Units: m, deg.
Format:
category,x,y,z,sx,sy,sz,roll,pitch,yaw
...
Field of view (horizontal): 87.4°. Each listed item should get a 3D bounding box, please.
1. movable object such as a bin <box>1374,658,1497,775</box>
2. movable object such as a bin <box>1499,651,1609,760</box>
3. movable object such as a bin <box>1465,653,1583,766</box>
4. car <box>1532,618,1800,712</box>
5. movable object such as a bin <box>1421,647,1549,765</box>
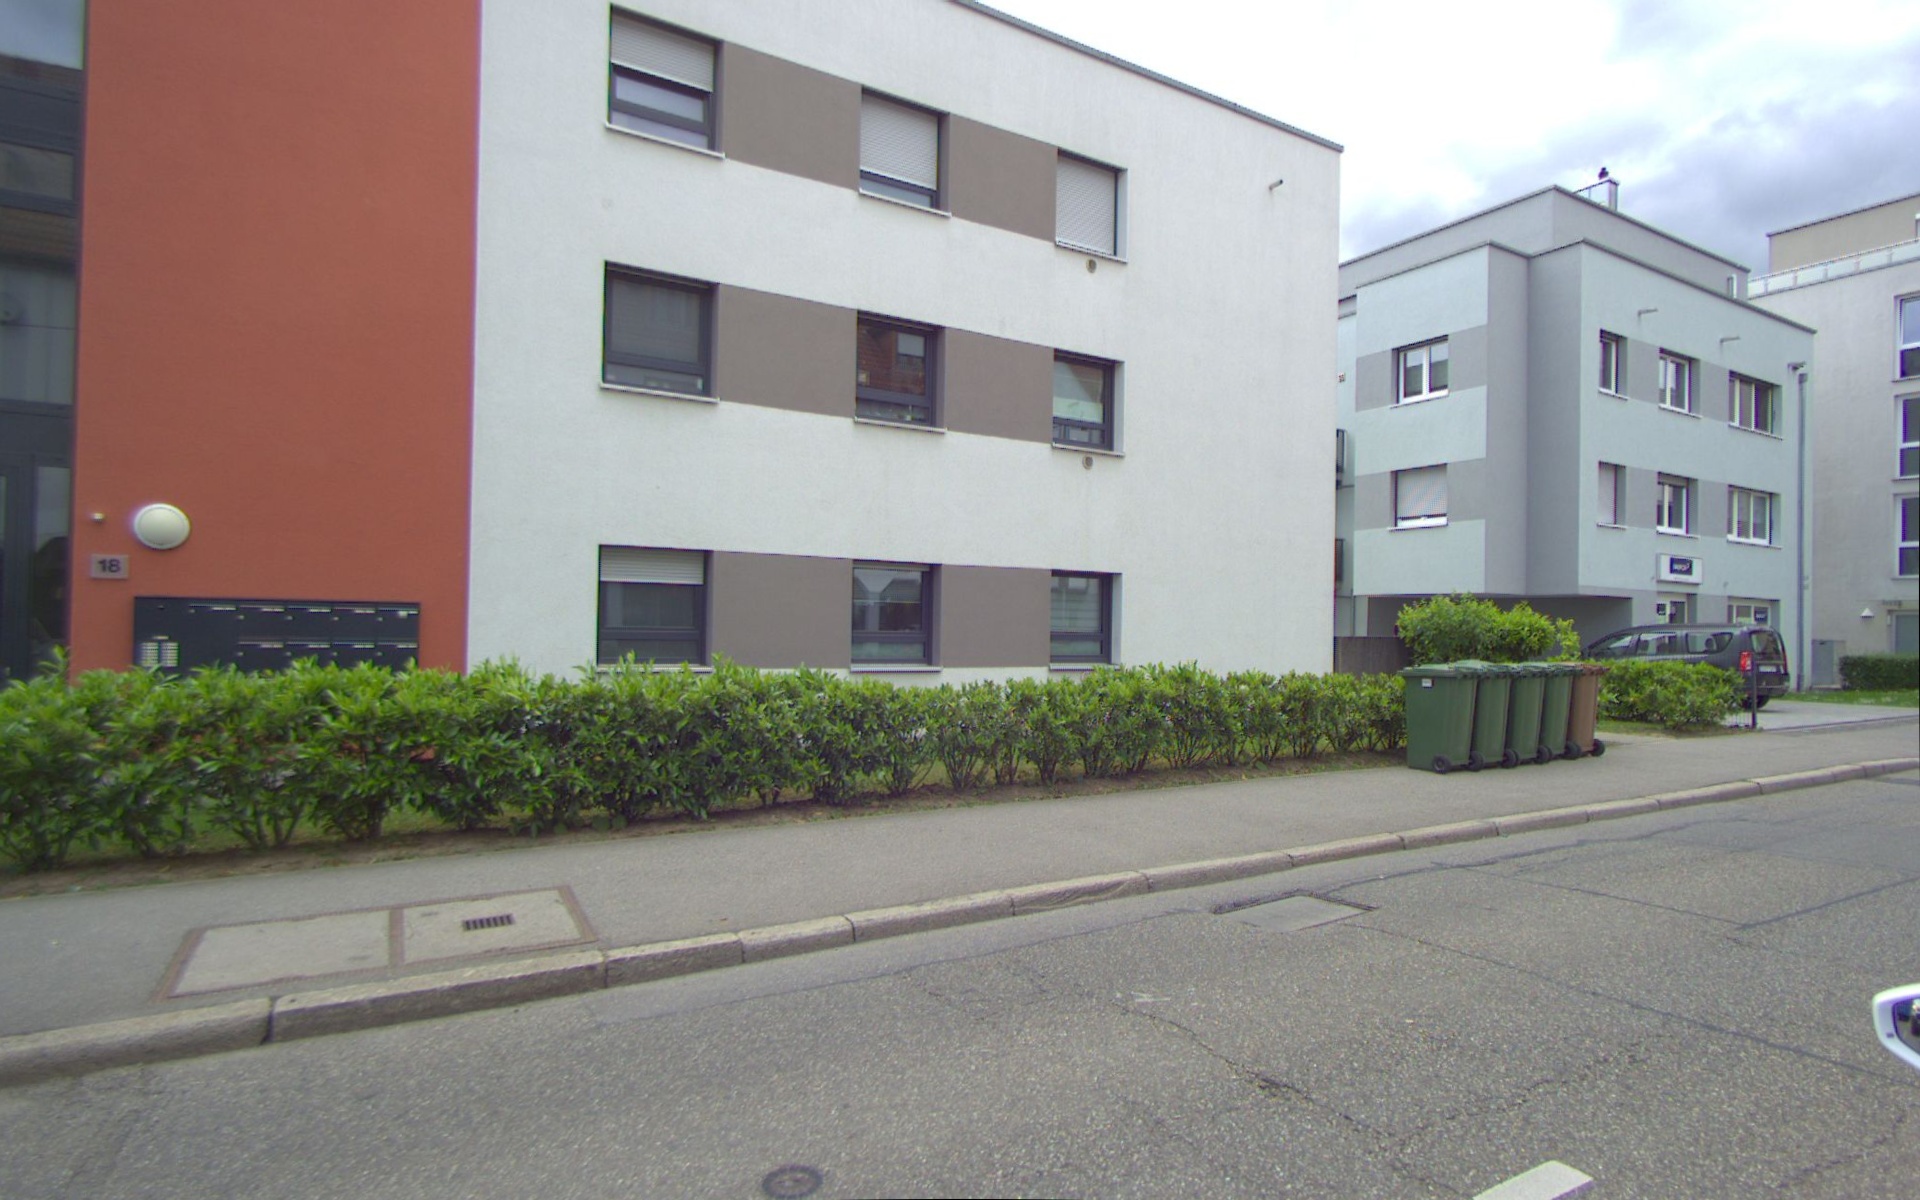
category,x,y,z,sx,sy,sz,roll,pitch,yaw
movable object such as a bin,4.939,1.176,10.453,0.785,1.103,0.889,1,-1,-34
movable object such as a bin,6.927,1.204,11.730,0.606,1.166,0.935,1,-1,-34
movable object such as a bin,6.356,1.197,11.338,0.741,1.166,0.942,1,-1,-34
car,14.095,1.220,20.328,1.702,1.689,4.149,2,-2,-26
movable object such as a bin,5.674,1.113,10.872,0.832,1.166,0.950,1,-1,-34
